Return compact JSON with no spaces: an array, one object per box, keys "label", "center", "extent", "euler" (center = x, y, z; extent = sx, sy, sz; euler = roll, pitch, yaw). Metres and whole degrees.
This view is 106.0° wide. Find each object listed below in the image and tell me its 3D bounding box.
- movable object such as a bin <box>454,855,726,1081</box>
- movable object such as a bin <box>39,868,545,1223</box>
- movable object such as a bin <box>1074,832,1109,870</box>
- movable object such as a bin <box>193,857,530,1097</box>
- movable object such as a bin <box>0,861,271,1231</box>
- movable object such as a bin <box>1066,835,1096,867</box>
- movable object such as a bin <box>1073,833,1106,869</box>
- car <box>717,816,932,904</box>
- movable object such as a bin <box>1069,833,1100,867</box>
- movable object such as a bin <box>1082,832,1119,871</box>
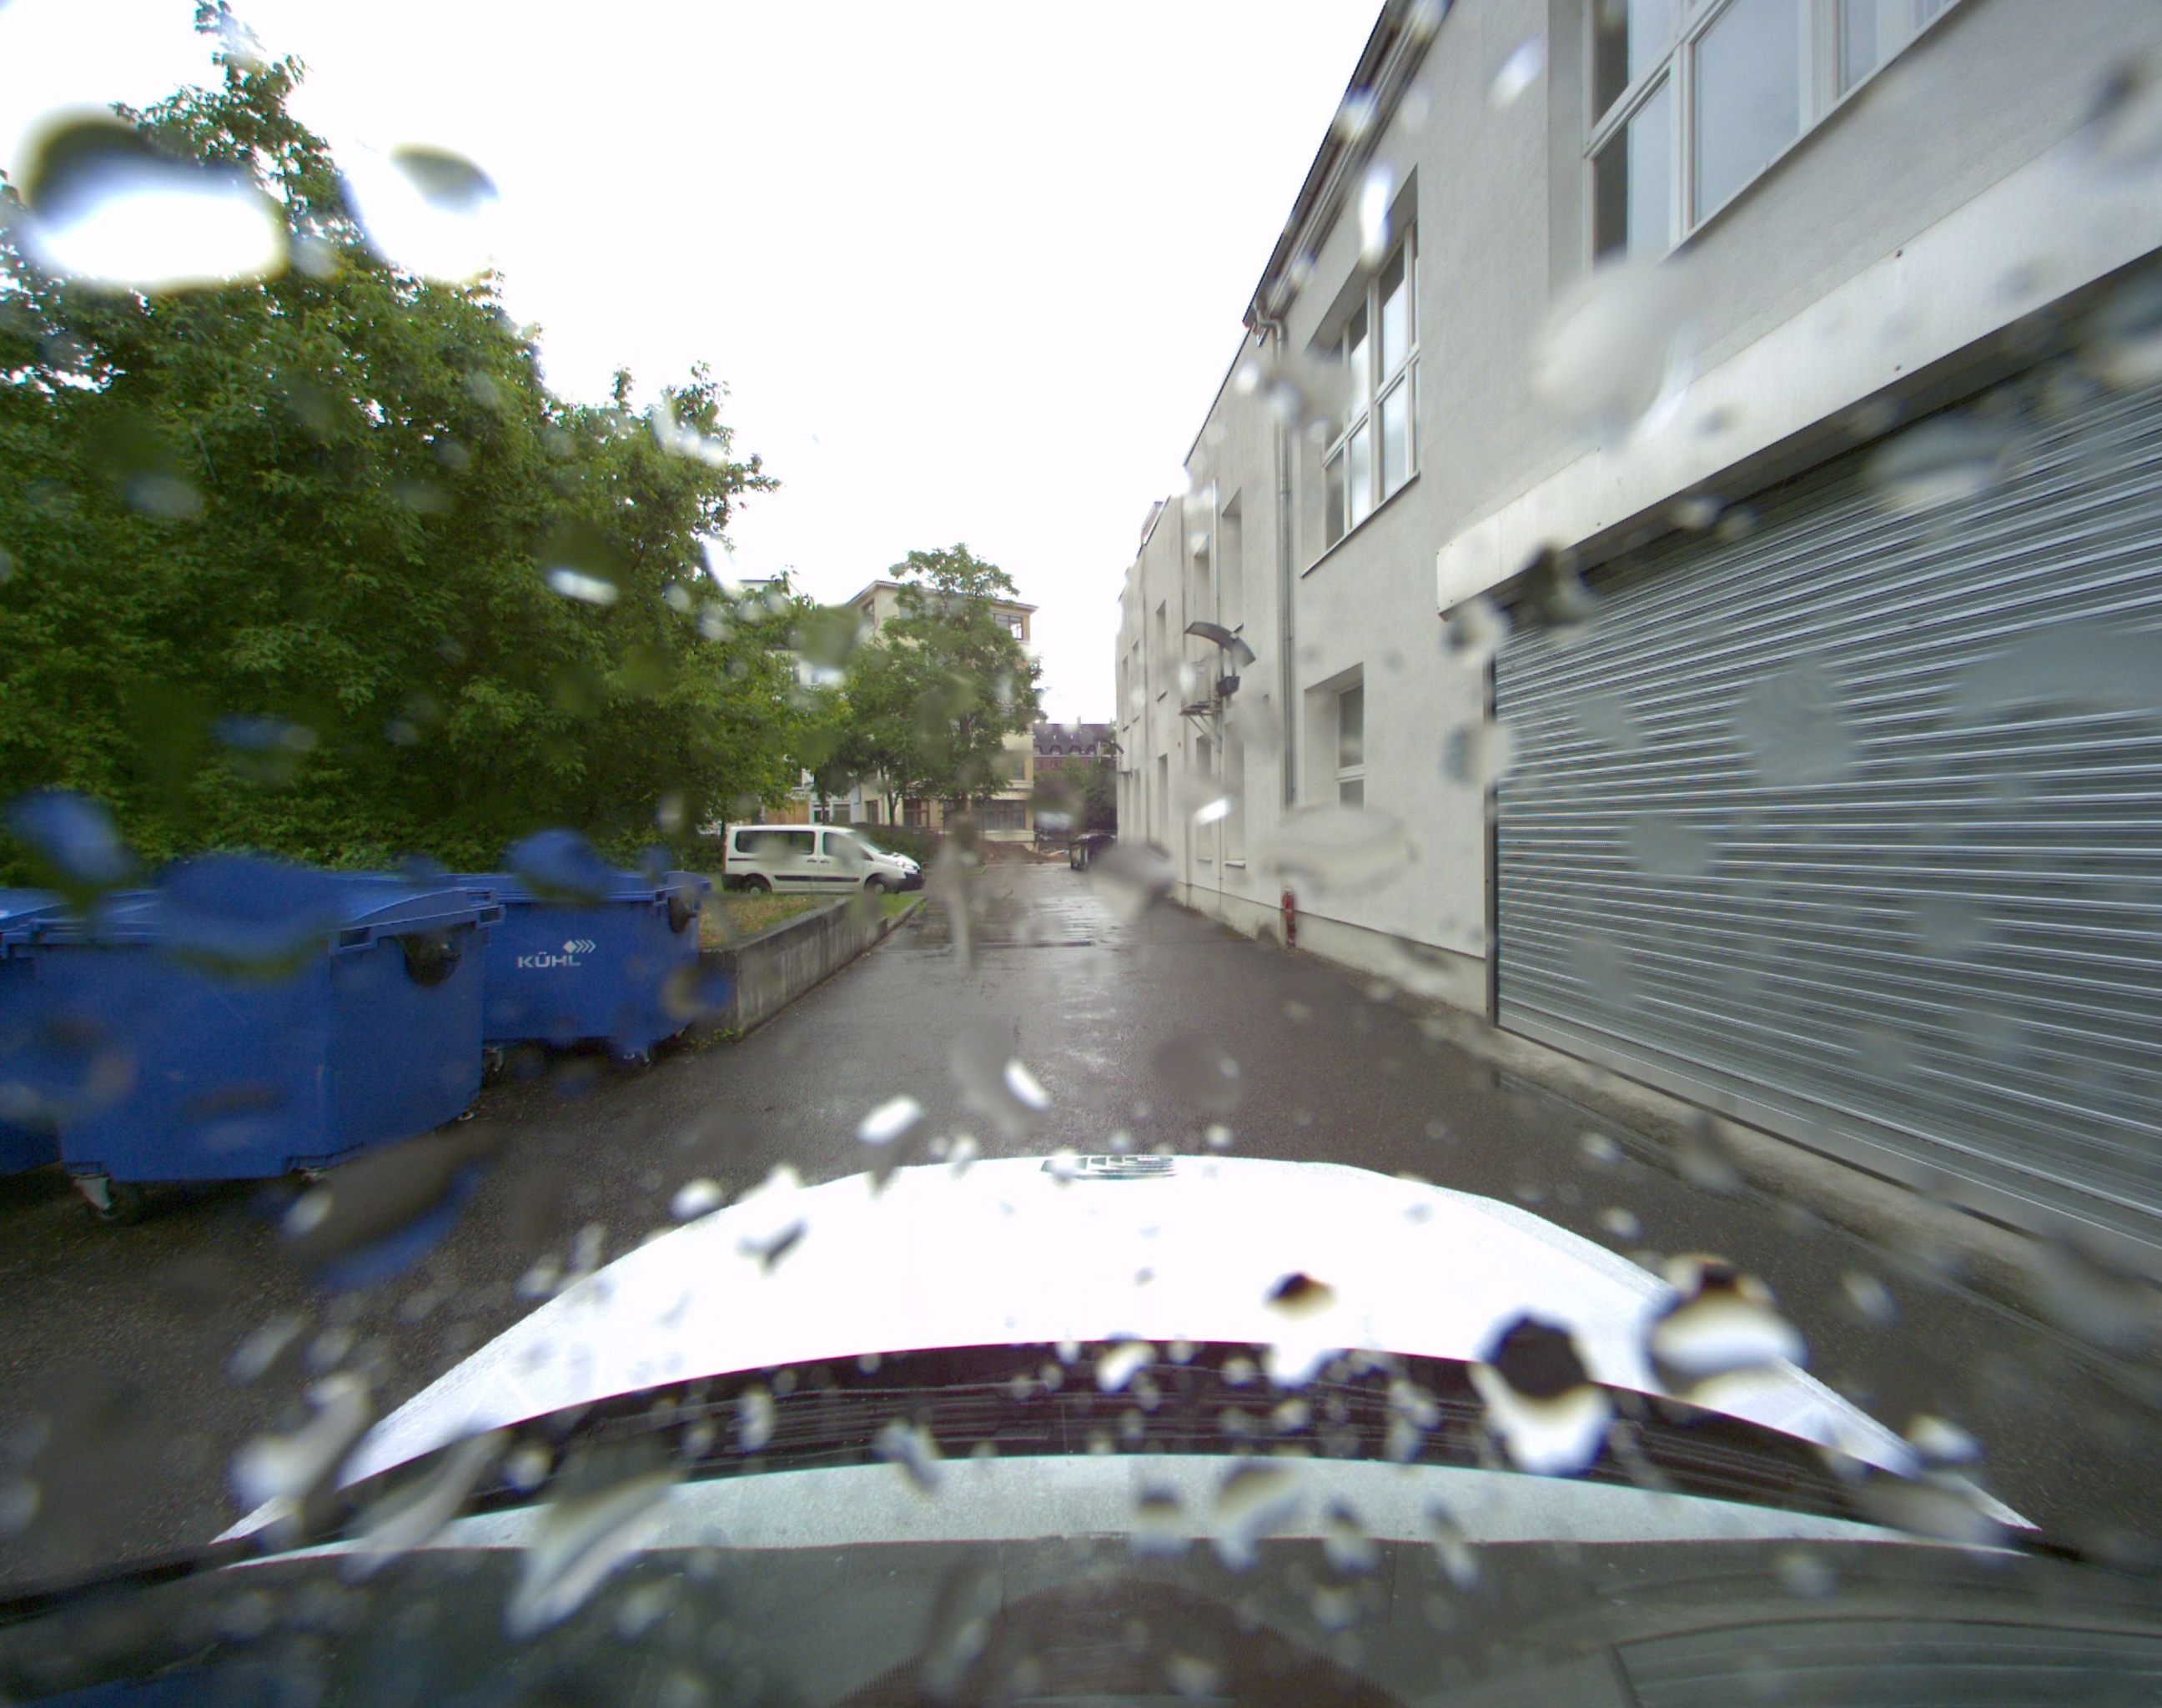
[{"label":"movable object such as a bin","center":[-3.229,0.696,5.516],"extent":[1.219,1.337,1.005],"euler":[-1,2,-5]},{"label":"movable object such as a bin","center":[-3.453,0.760,3.752],"extent":[1.199,1.337,1.116],"euler":[-1,1,-1]},{"label":"movable object such as a bin","center":[0.406,-0.112,32.351],"extent":[1.213,1.437,1.291],"euler":[0,-1,-7]},{"label":"movable object such as a bin","center":[-4.537,0.719,5.270],"extent":[1.219,1.336,1.005],"euler":[-1,2,-5]},{"label":"movable object such as a bin","center":[-4.767,0.742,3.601],"extent":[1.200,1.336,1.115],"euler":[1,3,-5]},{"label":"movable object such as a bin","center":[0.010,-0.126,36.713],"extent":[1.213,1.437,1.256],"euler":[0,-1,-7]},{"label":"movable object such as a bin","center":[0.330,-0.131,33.981],"extent":[1.213,1.468,1.233],"euler":[0,-1,-7]},{"label":"car","center":[-6.336,0.104,20.648],"extent":[4.771,2.013,1.997],"euler":[-1,2,-5]},{"label":"movable object such as a bin","center":[0.150,-0.146,35.344],"extent":[1.213,1.437,1.256],"euler":[0,-1,-7]},{"label":"movable object such as a bin","center":[0.733,-0.087,30.687],"extent":[1.213,1.437,1.233],"euler":[0,-1,-7]}]
